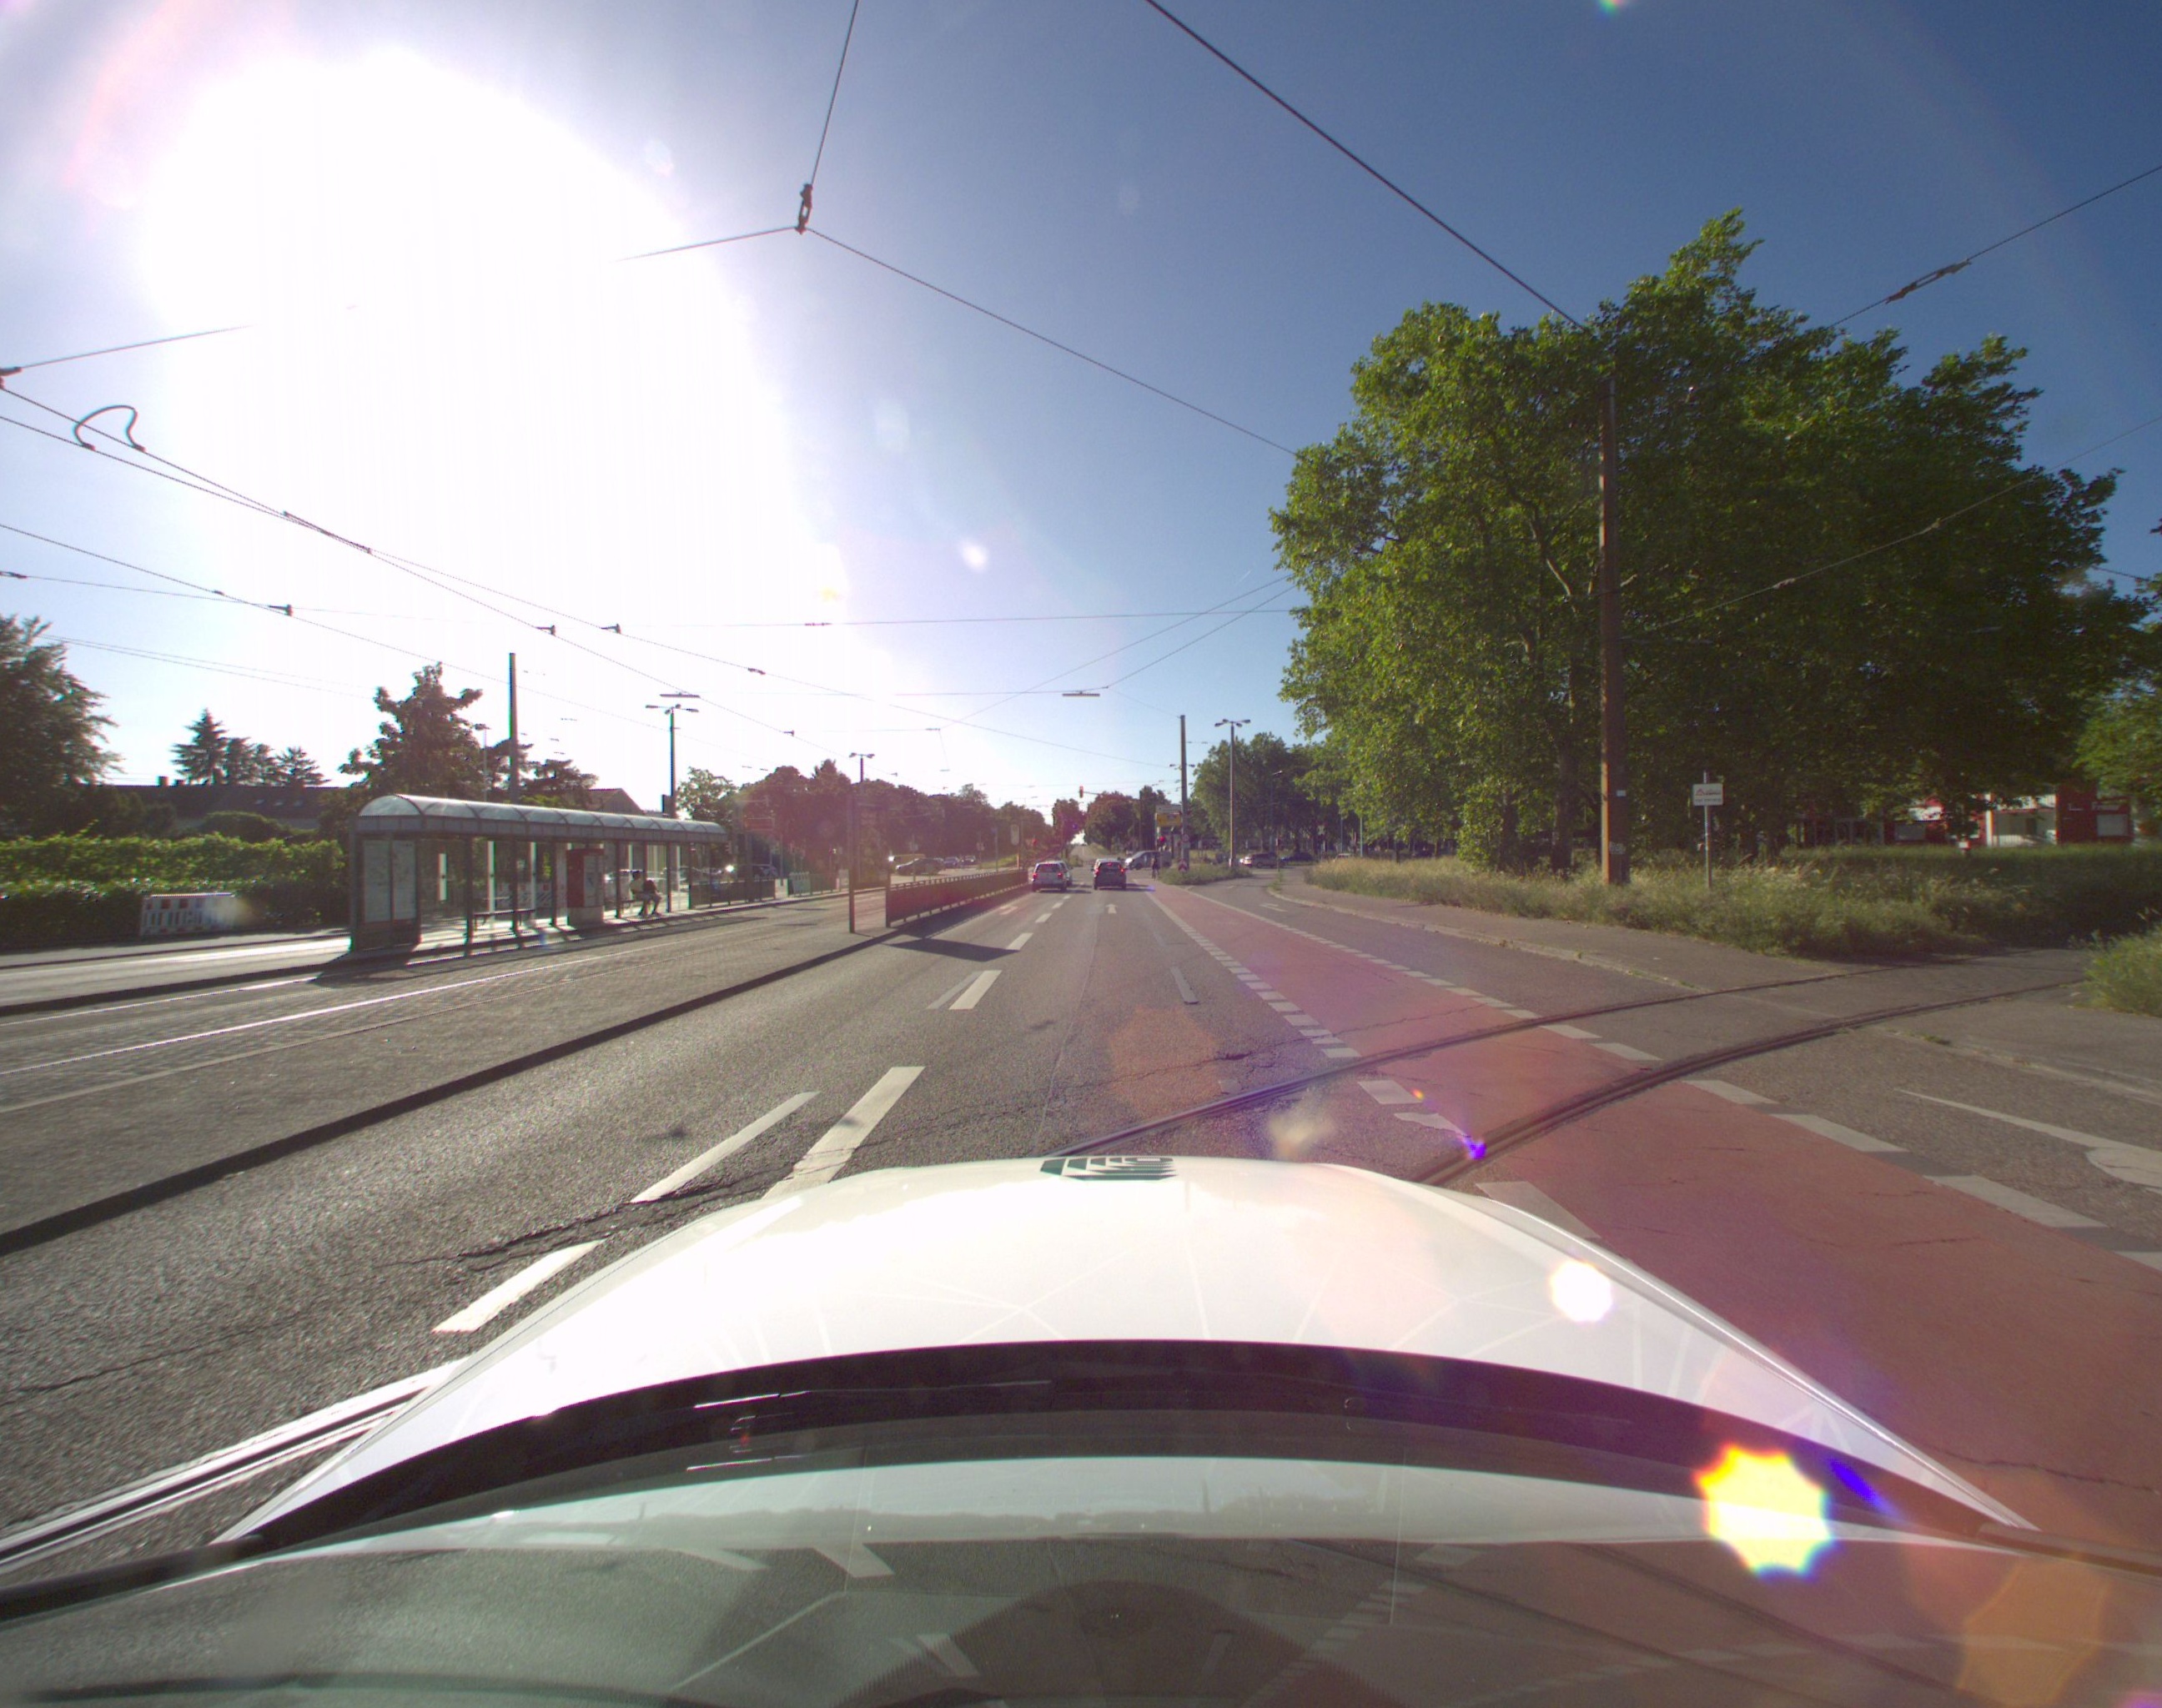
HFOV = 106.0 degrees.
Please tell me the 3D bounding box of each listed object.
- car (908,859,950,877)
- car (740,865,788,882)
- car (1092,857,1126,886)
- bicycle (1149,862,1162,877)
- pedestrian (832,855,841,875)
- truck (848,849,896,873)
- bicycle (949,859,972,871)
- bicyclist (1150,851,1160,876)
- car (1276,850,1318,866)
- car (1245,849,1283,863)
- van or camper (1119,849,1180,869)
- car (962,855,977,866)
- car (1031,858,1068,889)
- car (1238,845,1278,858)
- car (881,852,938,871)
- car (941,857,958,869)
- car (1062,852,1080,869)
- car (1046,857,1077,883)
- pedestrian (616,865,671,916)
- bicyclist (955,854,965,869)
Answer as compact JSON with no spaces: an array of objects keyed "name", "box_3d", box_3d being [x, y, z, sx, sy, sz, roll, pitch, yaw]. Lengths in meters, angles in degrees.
[{"name":"car","box_3d":[-14.507,1.360,77.739,3.626,1.709,1.738,0,-1,-24]},{"name":"car","box_3d":[-29.098,1.768,74.721,4.006,1.473,1.737,0,-1,-25]},{"name":"car","box_3d":[1.442,0.898,42.982,1.663,1.462,3.586,-1,0,0]},{"name":"bicycle","box_3d":[5.168,1.074,56.847,0.719,0.989,2.877,0,-1,2]},{"name":"pedestrian","box_3d":[-24.718,1.148,82.429,0.748,2.013,0.789,-1,0,-10]},{"name":"truck","box_3d":[-24.182,0.757,94.571,1.977,2.565,6.856,-1,0,19]},{"name":"bicycle","box_3d":[-13.651,1.281,92.162,2.401,1.263,0.813,-1,0,-16]},{"name":"bicyclist","box_3d":[5.167,0.667,56.771,0.663,1.716,0.948,0,-1,1]},{"name":"car","box_3d":[26.471,0.468,99.788,4.704,1.879,1.986,0,-1,-21]},{"name":"car","box_3d":[20.587,0.213,91.674,4.001,1.531,1.594,-2,0,-21]},{"name":"van or camper","box_3d":[7.032,0.484,83.307,5.998,1.828,1.983,-1,0,-25]},{"name":"car","box_3d":[-16.560,0.948,121.095,1.990,1.604,4.746,0,0,-5]},{"name":"car","box_3d":[-1.552,0.952,40.962,1.613,1.418,3.352,-2,-1,2]},{"name":"car","box_3d":[19.201,-0.264,88.449,4.018,1.402,1.598,-1,0,-21]},{"name":"car","box_3d":[-17.025,0.731,80.900,5.180,1.879,1.983,0,-1,-25]},{"name":"car","box_3d":[-17.128,1.140,106.410,1.829,1.548,4.278,-1,0,-4]},{"name":"car","box_3d":[-1.219,0.802,101.377,1.986,2.014,4.494,0,-1,2]},{"name":"car","box_3d":[-1.105,0.917,48.624,1.613,1.457,4.086,0,-1,2]},{"name":"pedestrian","box_3d":[-13.197,1.087,24.574,1.057,1.453,1.007,-2,-1,1]},{"name":"bicyclist","box_3d":[-13.703,0.835,92.184,1.008,1.647,0.813,-1,0,-16]}]
